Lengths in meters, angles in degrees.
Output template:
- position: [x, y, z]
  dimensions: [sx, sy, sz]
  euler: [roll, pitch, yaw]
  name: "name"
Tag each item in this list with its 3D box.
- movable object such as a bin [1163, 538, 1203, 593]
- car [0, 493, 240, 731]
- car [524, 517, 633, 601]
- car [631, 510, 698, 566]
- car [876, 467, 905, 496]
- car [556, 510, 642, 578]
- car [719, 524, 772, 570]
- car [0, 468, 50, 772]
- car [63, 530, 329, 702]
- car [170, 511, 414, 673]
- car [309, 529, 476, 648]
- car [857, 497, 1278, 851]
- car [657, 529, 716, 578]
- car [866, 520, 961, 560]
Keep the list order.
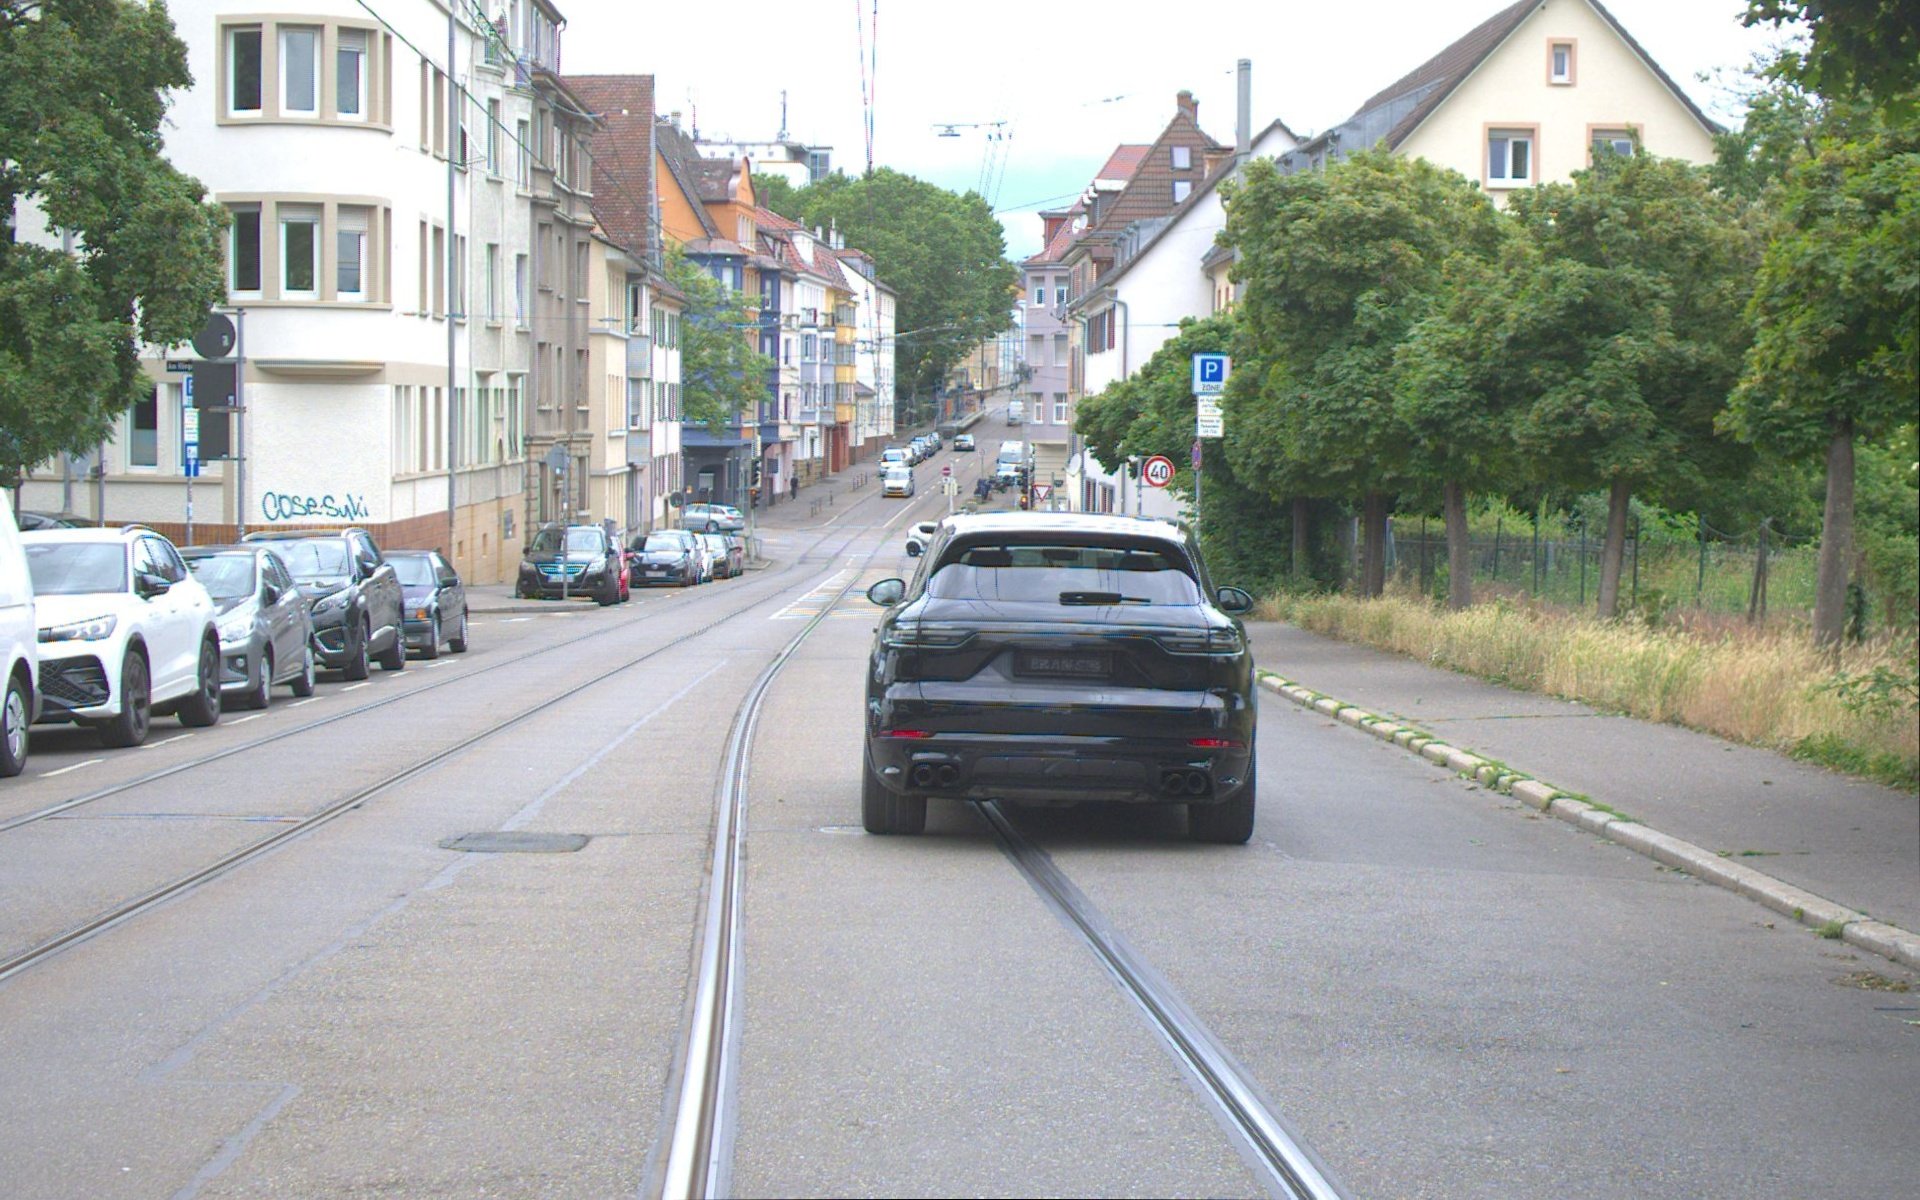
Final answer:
- position: [5.058, -0.785, 77.996]
  dimensions: [0.792, 1.214, 0.789]
  euler: [1, 1, -4]
  name: "movable object such as a bin"
- position: [-6.962, 0.073, 26.577]
  dimensions: [1.969, 1.681, 4.633]
  euler: [0, 0, -2]
  name: "car"
- position: [-7.711, -0.821, 69.839]
  dimensions: [1.867, 1.640, 4.402]
  euler: [0, 0, -2]
  name: "car"
- position: [-8.083, -1.685, 94.230]
  dimensions: [1.620, 1.458, 4.033]
  euler: [0, 0, -2]
  name: "car"
- position: [-4.486, -7.651, 221.382]
  dimensions: [1.751, 1.753, 4.254]
  euler: [1, 1, 0]
  name: "car"
- position: [-7.931, -1.211, 75.666]
  dimensions: [1.620, 1.458, 3.746]
  euler: [0, 0, -2]
  name: "car"
- position: [-7.081, -1.738, 113.597]
  dimensions: [1.620, 1.468, 4.556]
  euler: [0, 0, -2]
  name: "car"
- position: [-6.979, 0.130, 20.547]
  dimensions: [1.969, 1.906, 4.735]
  euler: [0, 0, -2]
  name: "car"
- position: [-7.045, 0.132, 32.050]
  dimensions: [1.738, 1.504, 3.870]
  euler: [0, 0, -2]
  name: "car"
- position: [-7.302, -0.093, 37.997]
  dimensions: [1.969, 1.681, 4.445]
  euler: [0, 0, -2]
  name: "car"
- position: [-7.340, -0.158, 44.746]
  dimensions: [1.620, 1.472, 4.157]
  euler: [0, 0, -2]
  name: "car"
- position: [0.483, 0.324, 18.489]
  dimensions: [1.993, 1.670, 4.000]
  euler: [1, 1, -1]
  name: "car"
- position: [-8.341, -1.405, 104.904]
  dimensions: [1.620, 1.458, 3.685]
  euler: [0, 0, -2]
  name: "car"
- position: [-2.118, -2.745, 157.061]
  dimensions: [3.829, 1.763, 1.998]
  euler: [1, 1, 23]
  name: "car"
